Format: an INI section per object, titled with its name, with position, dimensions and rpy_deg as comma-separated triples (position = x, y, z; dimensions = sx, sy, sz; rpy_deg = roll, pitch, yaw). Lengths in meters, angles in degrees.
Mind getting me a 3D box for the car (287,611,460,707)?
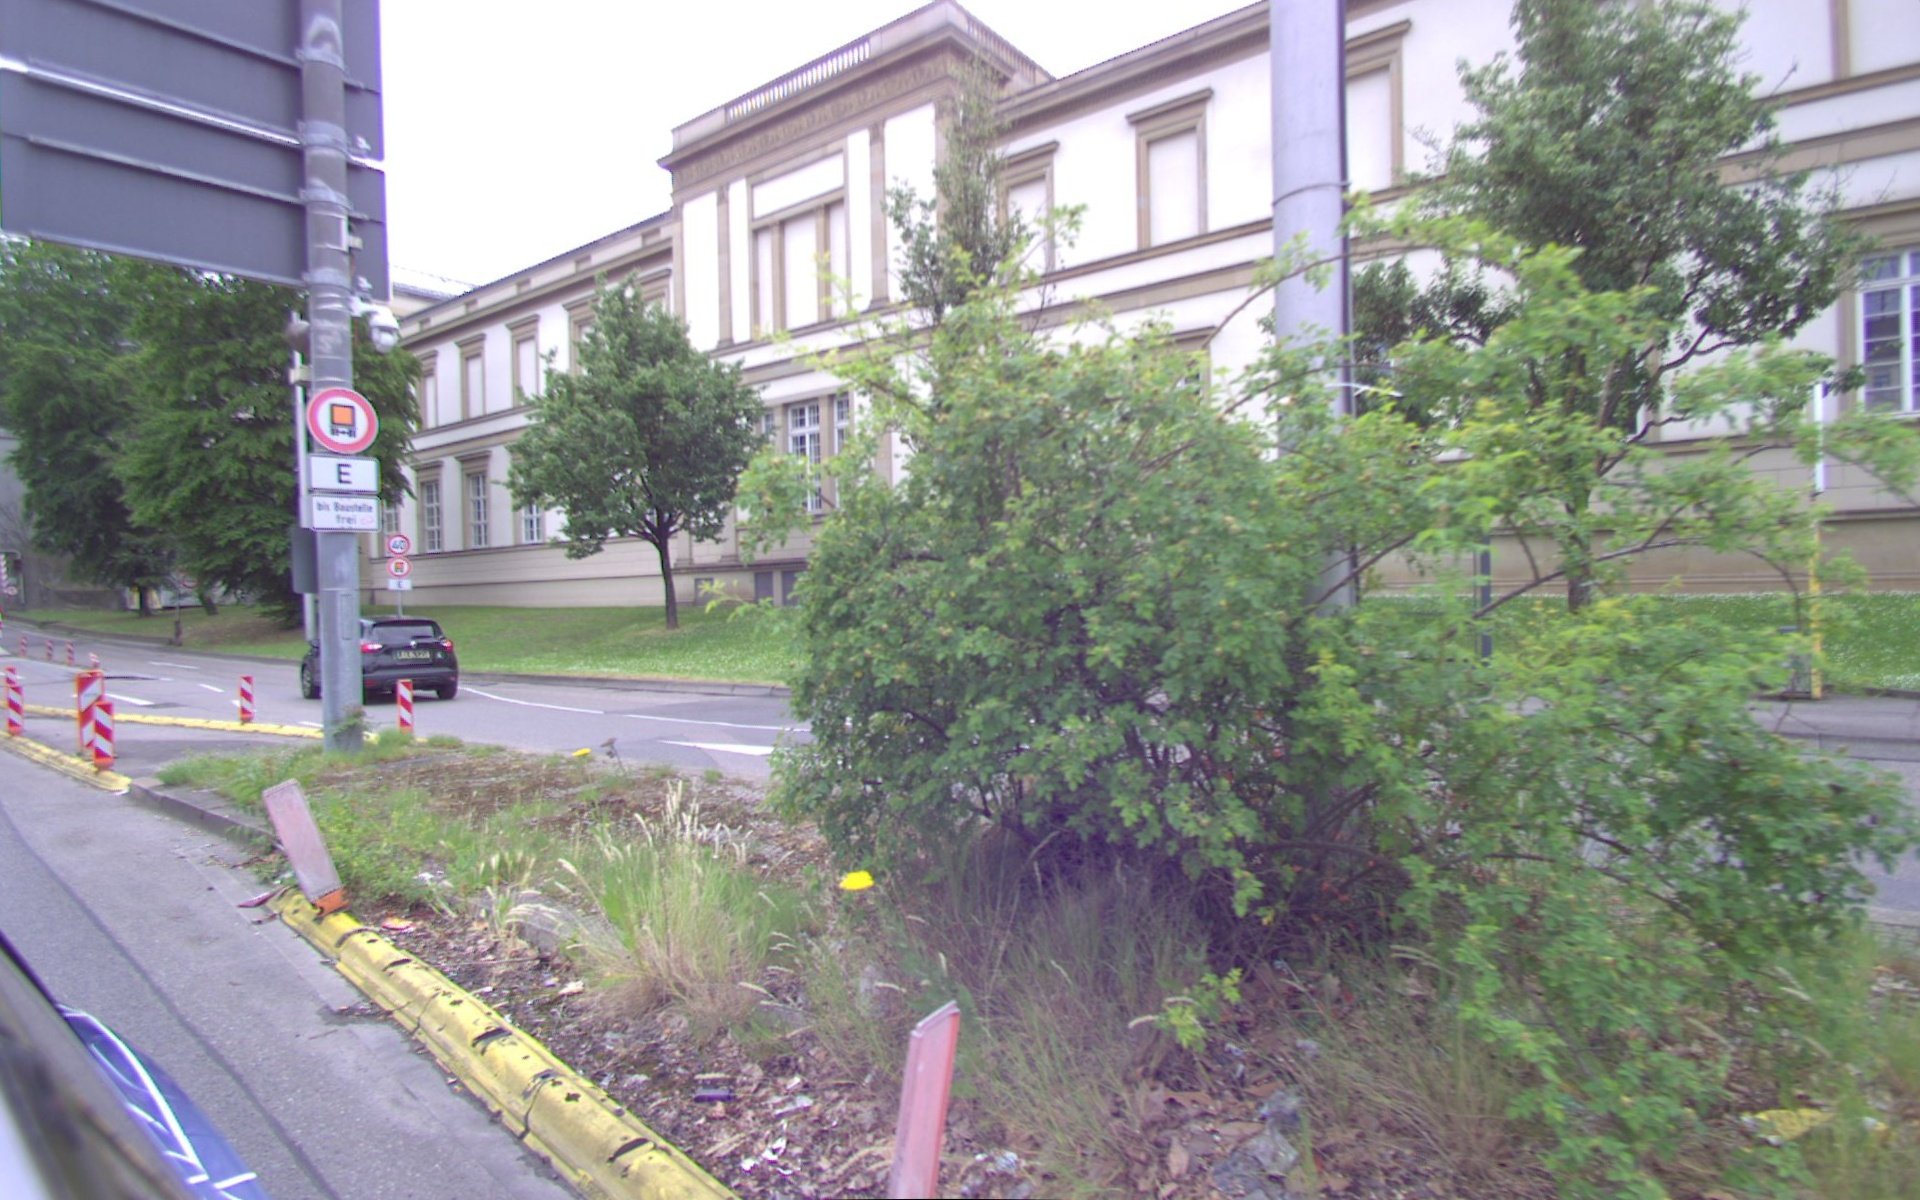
[car]
position = -10.999, 1.038, 18.888
dimensions = 3.880, 1.603, 1.646
rpy_deg = -1, -1, 41
